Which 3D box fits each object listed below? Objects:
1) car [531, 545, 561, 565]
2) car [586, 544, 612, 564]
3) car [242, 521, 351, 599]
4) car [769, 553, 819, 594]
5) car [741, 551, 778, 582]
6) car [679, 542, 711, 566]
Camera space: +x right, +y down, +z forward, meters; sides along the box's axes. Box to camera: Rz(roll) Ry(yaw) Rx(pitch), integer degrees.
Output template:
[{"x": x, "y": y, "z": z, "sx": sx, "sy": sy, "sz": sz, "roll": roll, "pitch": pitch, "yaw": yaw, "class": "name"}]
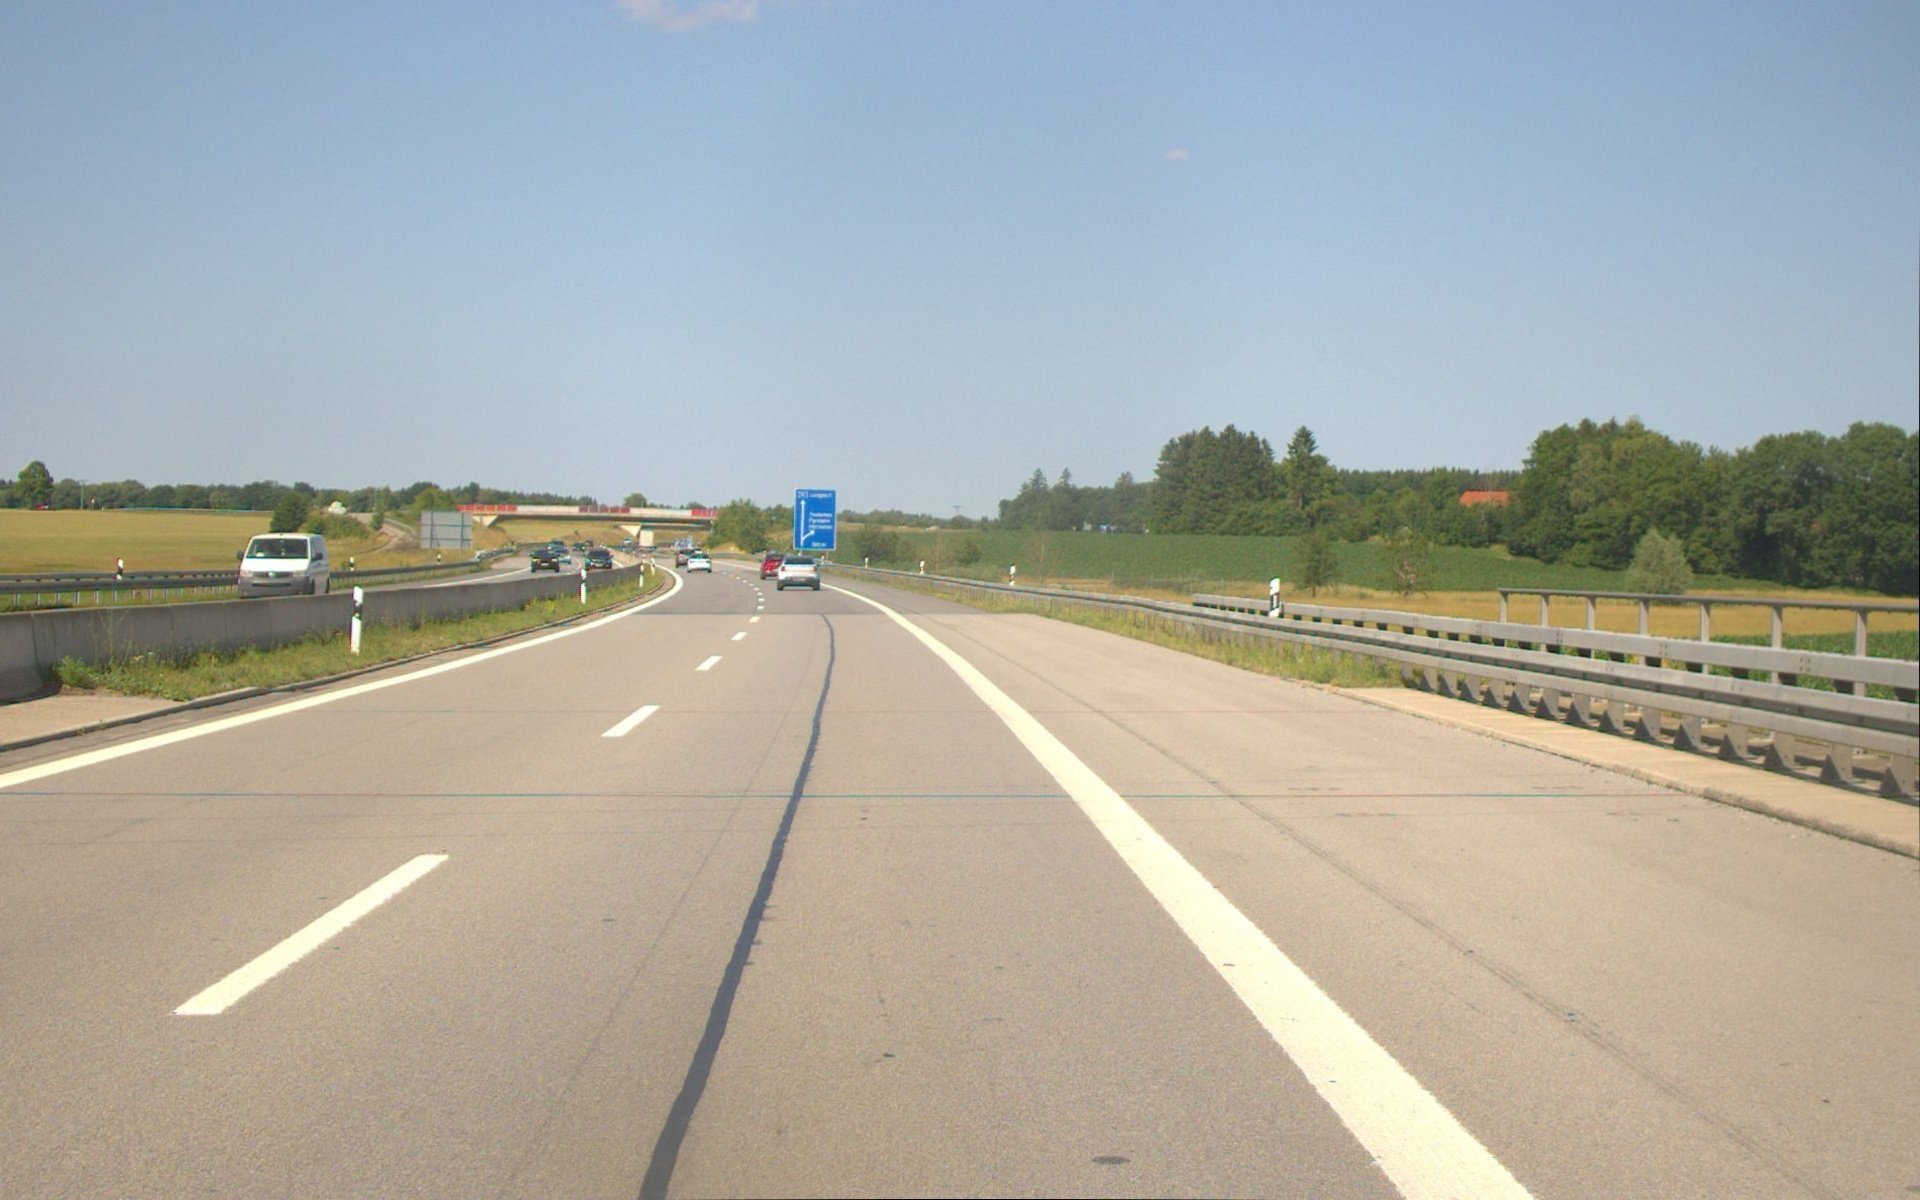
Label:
[{"x": -28.231, "y": -3.069, "z": 234.291, "sx": 1.822, "sy": 1.360, "sz": 4.665, "roll": 0, "pitch": 1, "yaw": -9, "class": "car"}, {"x": -25.637, "y": -3.268, "z": 244.088, "sx": 1.822, "sy": 1.360, "sz": 5.199, "roll": 0, "pitch": 1, "yaw": -7, "class": "car"}, {"x": -17.656, "y": -1.057, "z": 91.735, "sx": 1.993, "sy": 2.007, "sz": 5.614, "roll": 1, "pitch": 0, "yaw": -2, "class": "car"}, {"x": -7.377, "y": -1.180, "z": 152.207, "sx": 1.993, "sy": 1.725, "sz": 4.870, "roll": 1, "pitch": 1, "yaw": -5, "class": "car"}, {"x": -11.832, "y": -1.990, "z": 202.511, "sx": 1.993, "sy": 1.725, "sz": 4.870, "roll": 1, "pitch": 1, "yaw": -6, "class": "car"}, {"x": -19.325, "y": -3.364, "z": 250.825, "sx": 1.993, "sy": 1.725, "sz": 4.870, "roll": 1, "pitch": 1, "yaw": -8, "class": "car"}]
